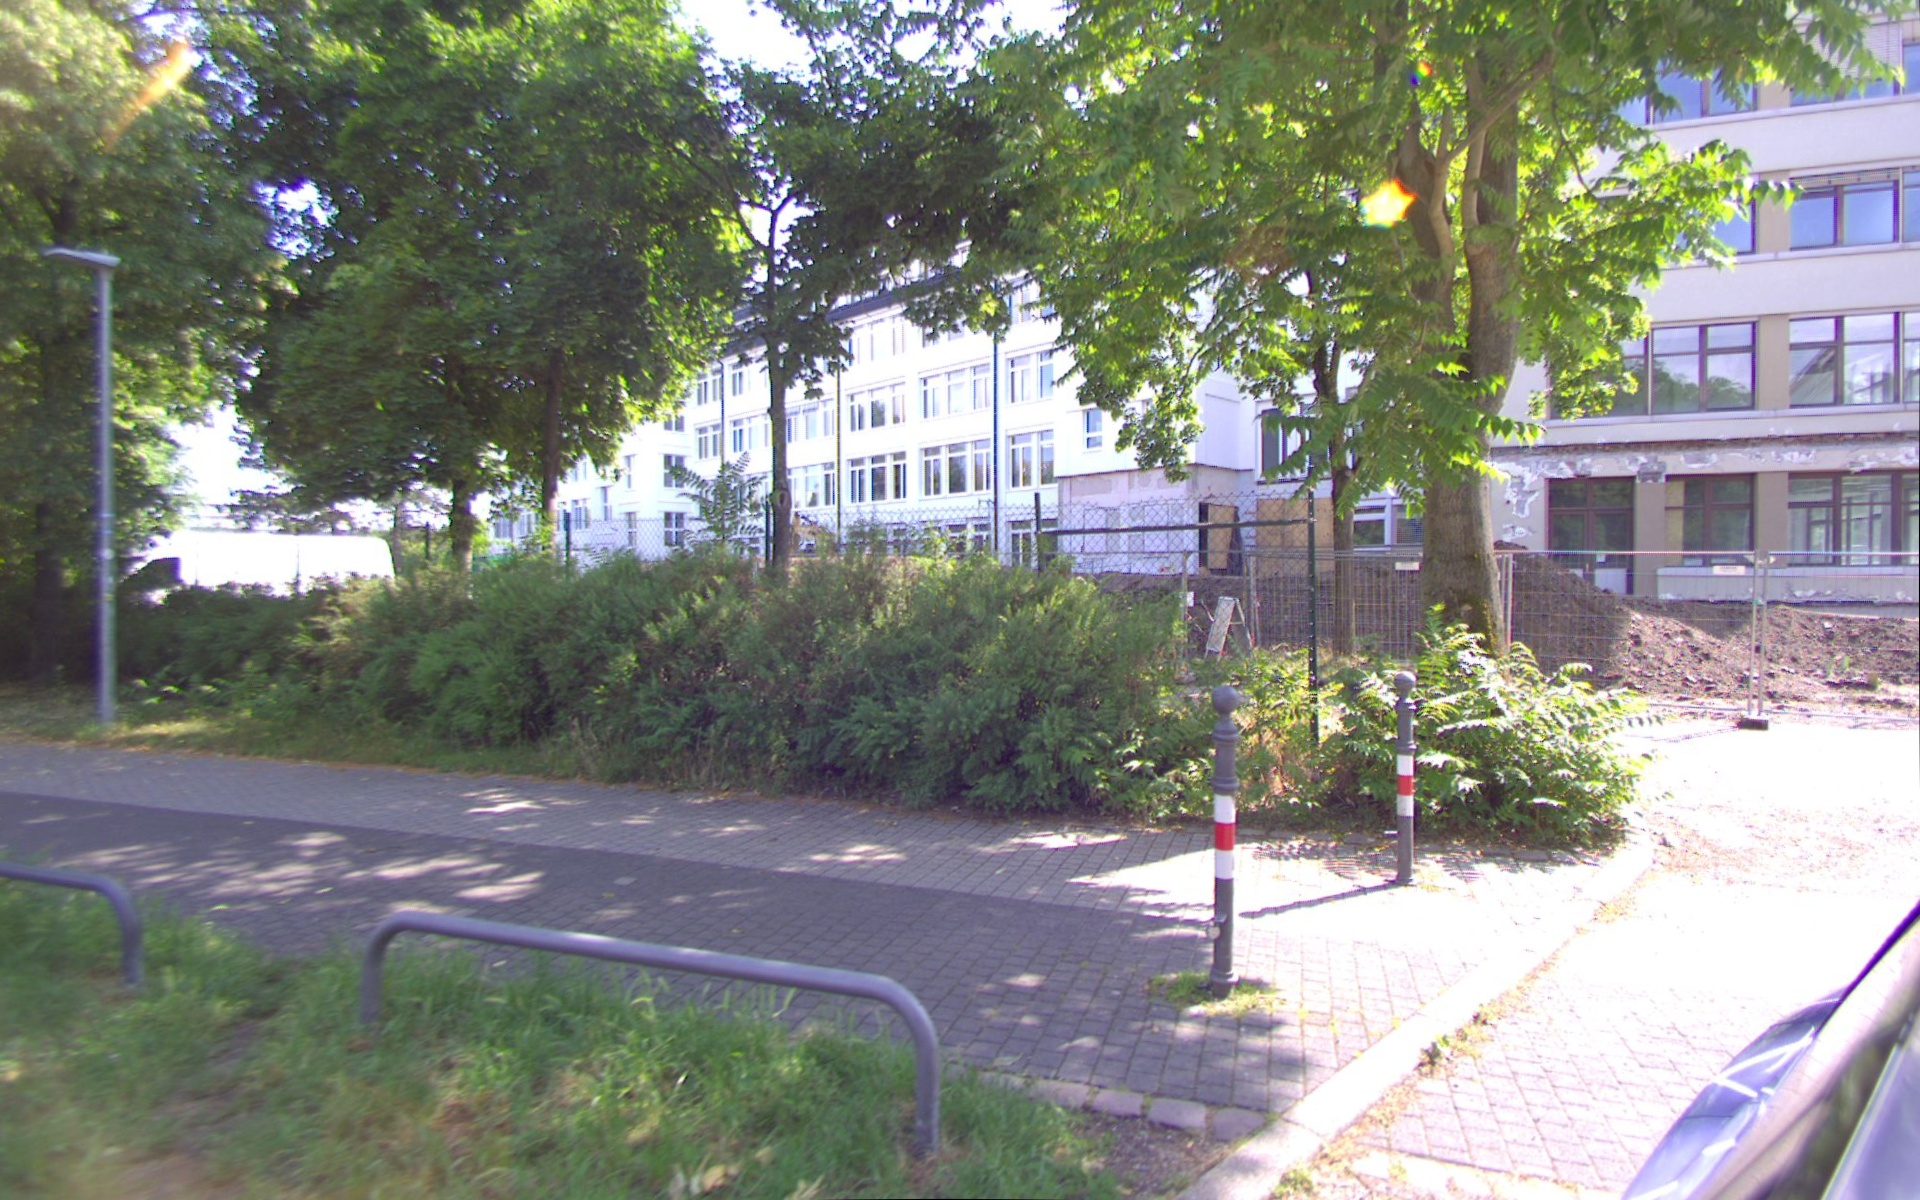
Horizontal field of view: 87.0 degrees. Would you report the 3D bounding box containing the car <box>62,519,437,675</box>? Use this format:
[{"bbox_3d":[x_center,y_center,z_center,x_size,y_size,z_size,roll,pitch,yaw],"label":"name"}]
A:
[{"bbox_3d":[-16.012,0.052,23.481,1.982,3.087,6.902,0,-2,29],"label":"car"}]

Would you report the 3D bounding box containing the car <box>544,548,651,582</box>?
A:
[{"bbox_3d":[-18.139,-1.729,50.775,4.787,1.447,1.840,1,-3,-44],"label":"car"}]
